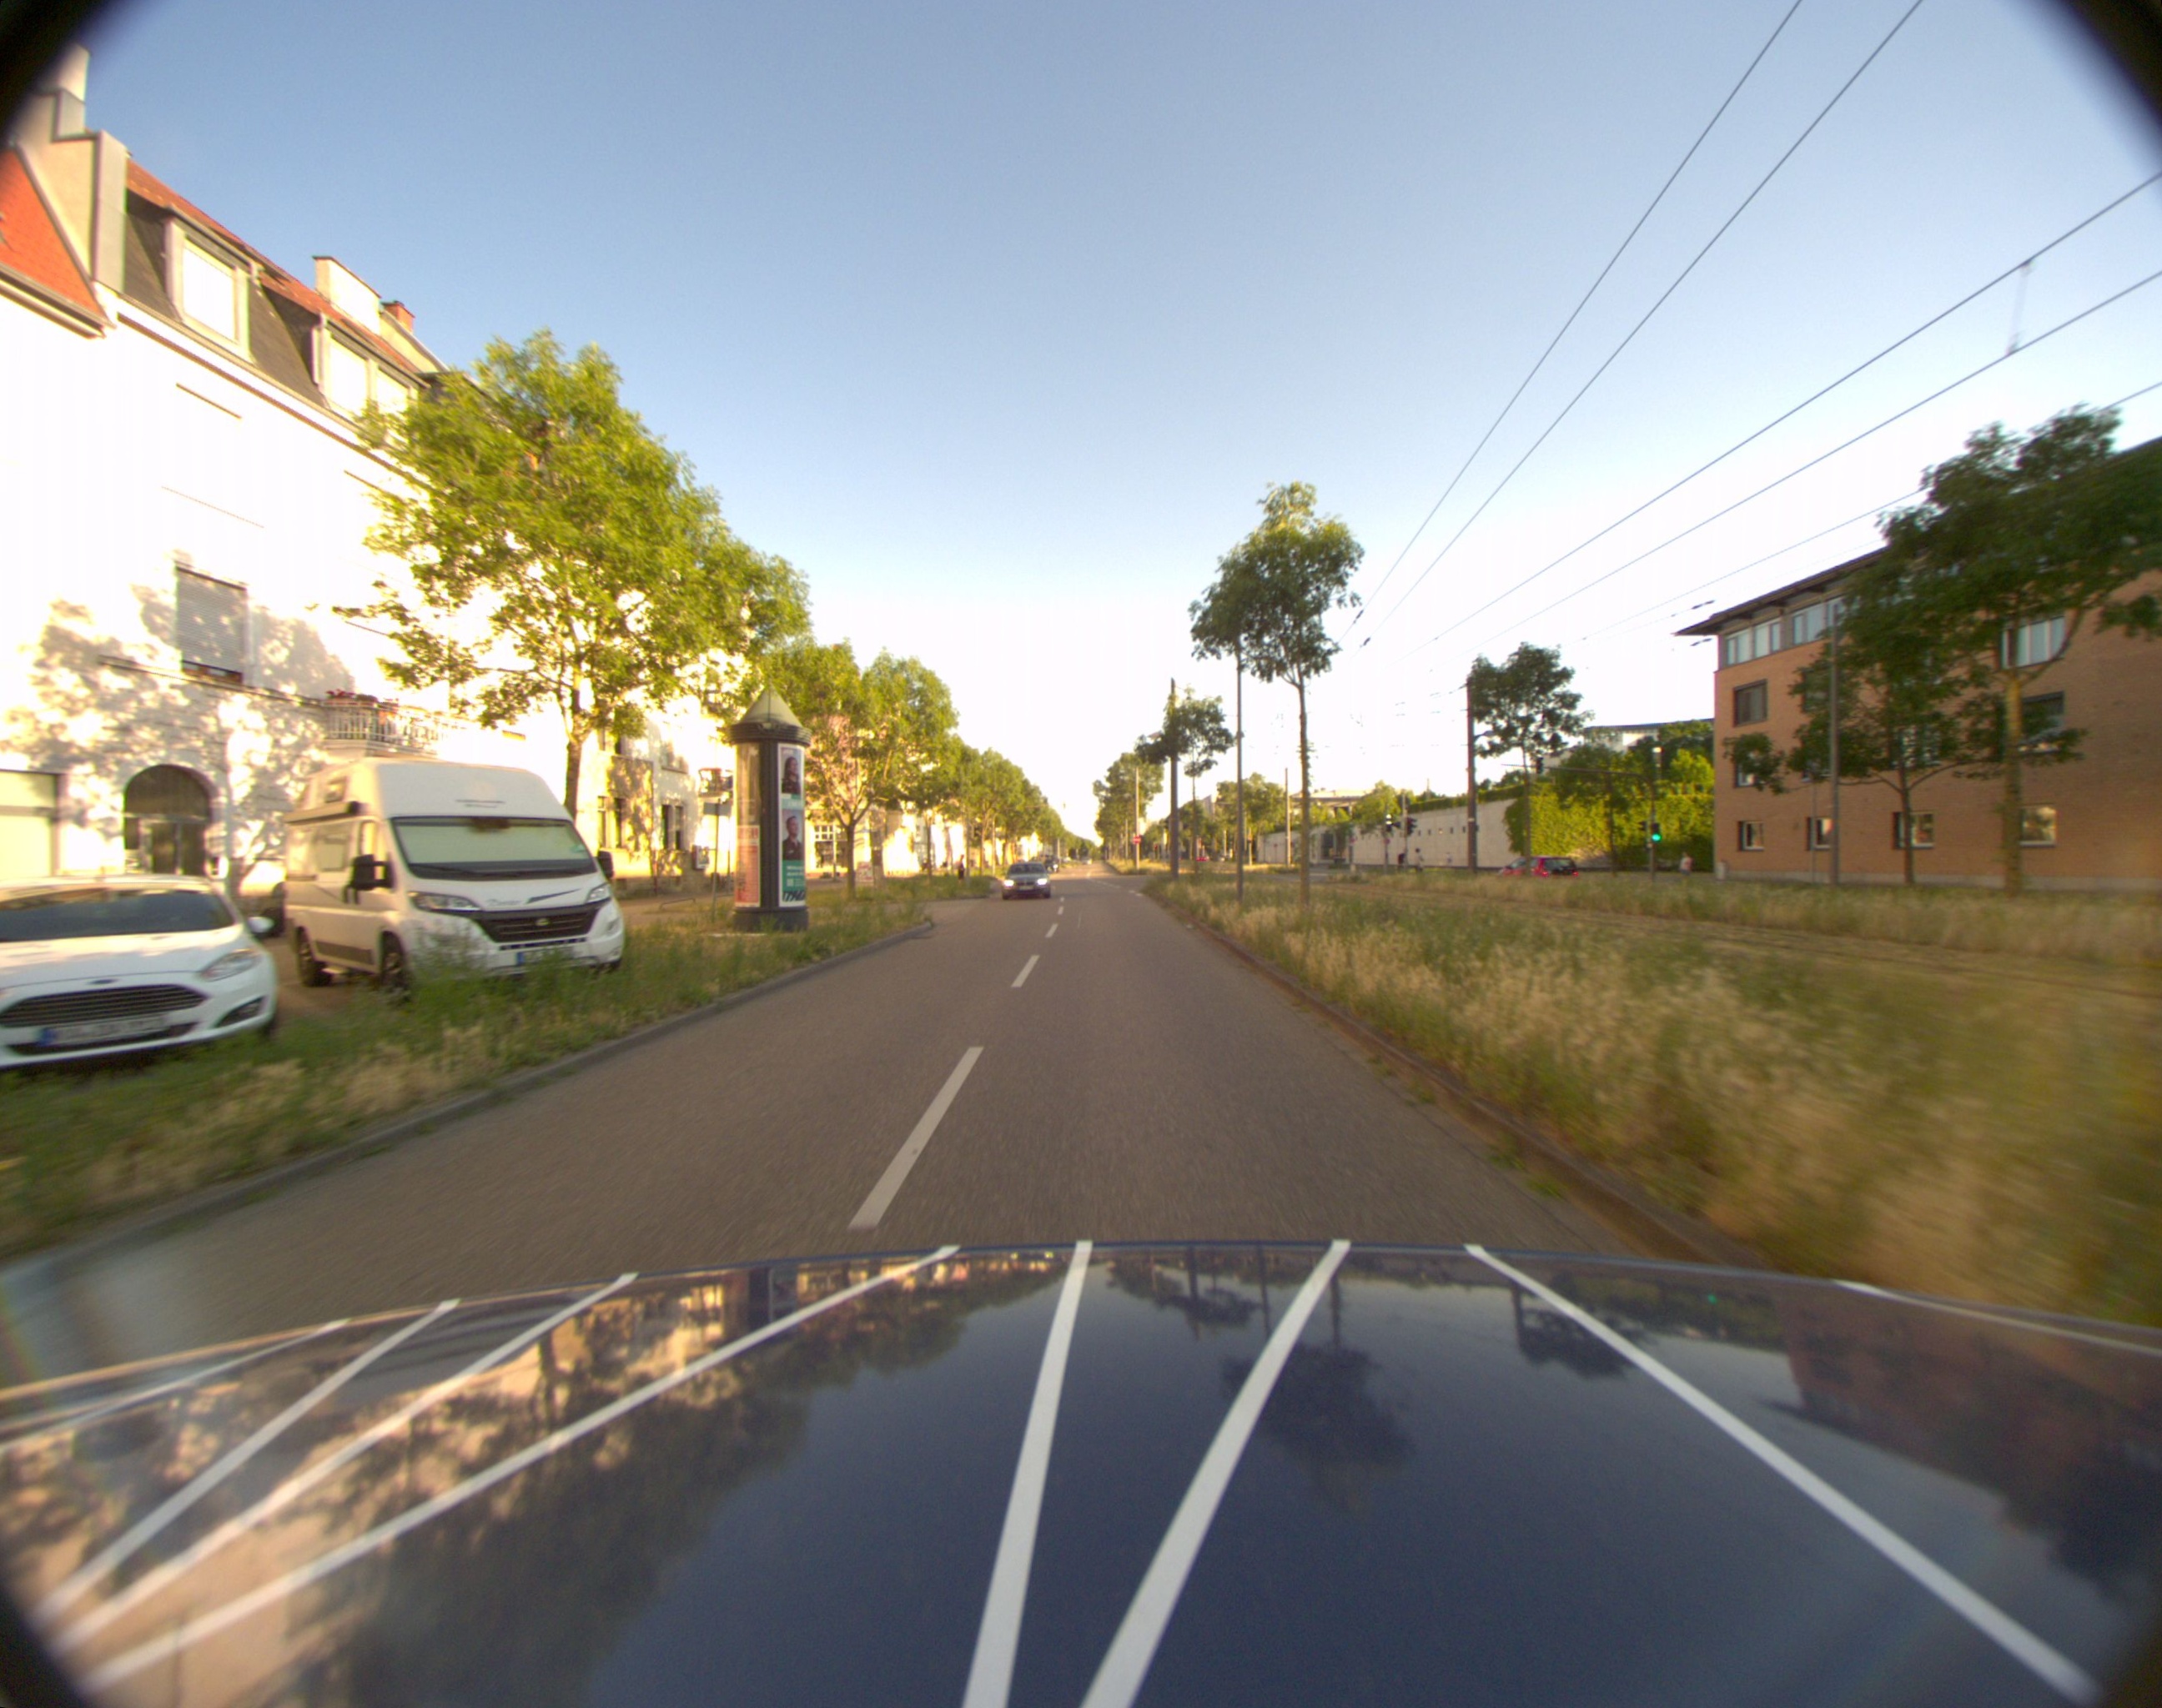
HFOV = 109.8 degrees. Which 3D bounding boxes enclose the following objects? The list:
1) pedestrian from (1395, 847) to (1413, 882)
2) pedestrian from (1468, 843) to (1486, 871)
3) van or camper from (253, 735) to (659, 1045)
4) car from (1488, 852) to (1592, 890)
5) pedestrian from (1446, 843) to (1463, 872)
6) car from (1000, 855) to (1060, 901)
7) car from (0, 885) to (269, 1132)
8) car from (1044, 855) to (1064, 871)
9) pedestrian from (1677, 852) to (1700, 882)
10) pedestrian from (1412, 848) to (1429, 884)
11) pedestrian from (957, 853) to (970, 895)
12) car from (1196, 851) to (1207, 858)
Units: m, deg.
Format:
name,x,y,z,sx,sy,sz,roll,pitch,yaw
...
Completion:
name,x,y,z,sx,sy,sz,roll,pitch,yaw
pedestrian,15.657,0.522,36.826,0.515,1.675,0.548,-1,1,-29
pedestrian,28.335,0.199,54.329,0.730,2.002,0.867,-1,1,-15
van or camper,-7.825,0.351,9.318,5.635,2.796,2.209,-1,0,33
car,18.189,0.630,30.324,1.794,1.368,4.000,-1,0,1
pedestrian,26.975,0.253,54.878,0.730,2.002,0.867,-1,1,-13
car,-1.983,0.924,30.647,1.998,1.655,4.000,-2,0,1
car,-7.940,1.013,6.044,3.912,1.395,1.799,-1,0,40
car,-2.940,0.931,82.184,1.999,1.583,4.000,-2,0,0
pedestrian,27.487,0.591,34.372,0.587,1.359,0.575,-1,1,-5
pedestrian,16.021,0.543,35.860,0.515,1.675,0.548,-1,1,-29
pedestrian,-5.624,0.937,36.382,0.514,2.002,0.599,-1,1,1
car,24.189,0.032,152.714,1.794,1.368,4.000,-1,0,1
